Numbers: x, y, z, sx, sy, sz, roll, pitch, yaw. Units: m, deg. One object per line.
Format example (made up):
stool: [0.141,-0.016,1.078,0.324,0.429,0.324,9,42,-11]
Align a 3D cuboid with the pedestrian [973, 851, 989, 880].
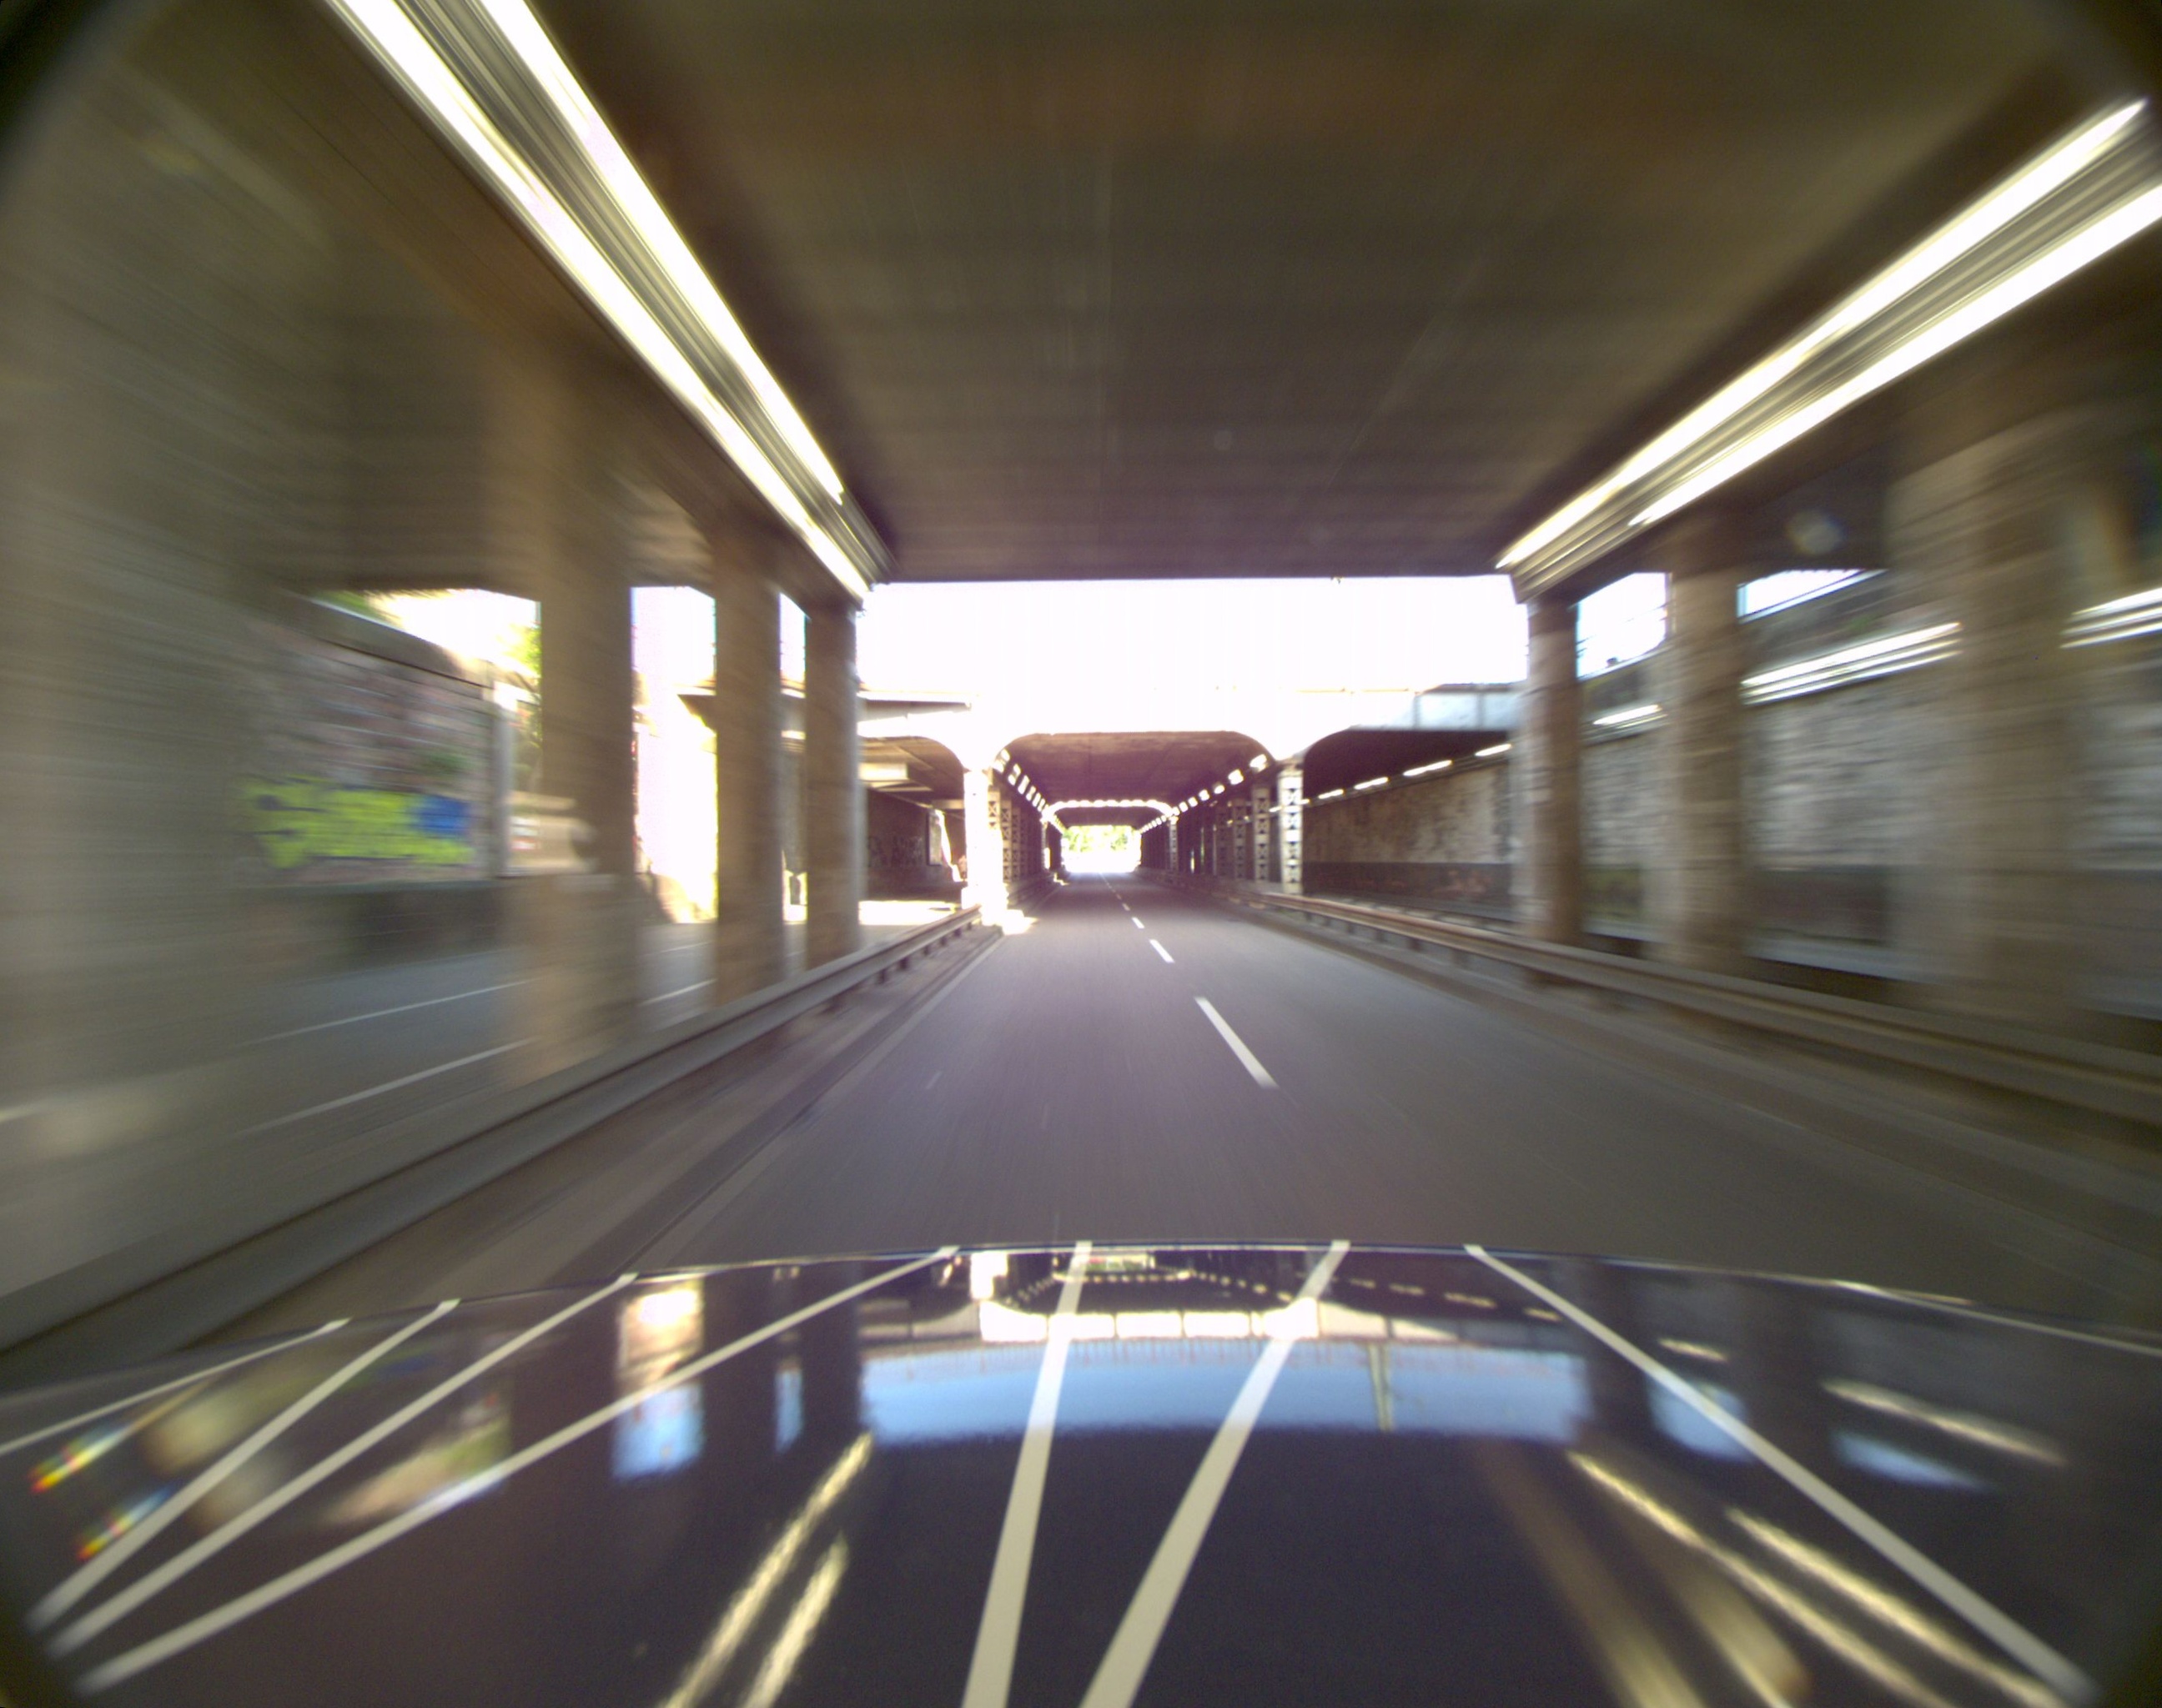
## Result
pedestrian: [-6.221,0.709,47.340,0.882,1.824,0.922,1,0,-2]

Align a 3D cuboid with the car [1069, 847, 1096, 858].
car: [0.315,-0.264,130.329,4.325,1.590,1.857,-2,1,-11]

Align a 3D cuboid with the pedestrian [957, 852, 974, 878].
pedestrian: [-7.266,0.684,47.764,0.919,1.646,0.886,1,0,-2]
